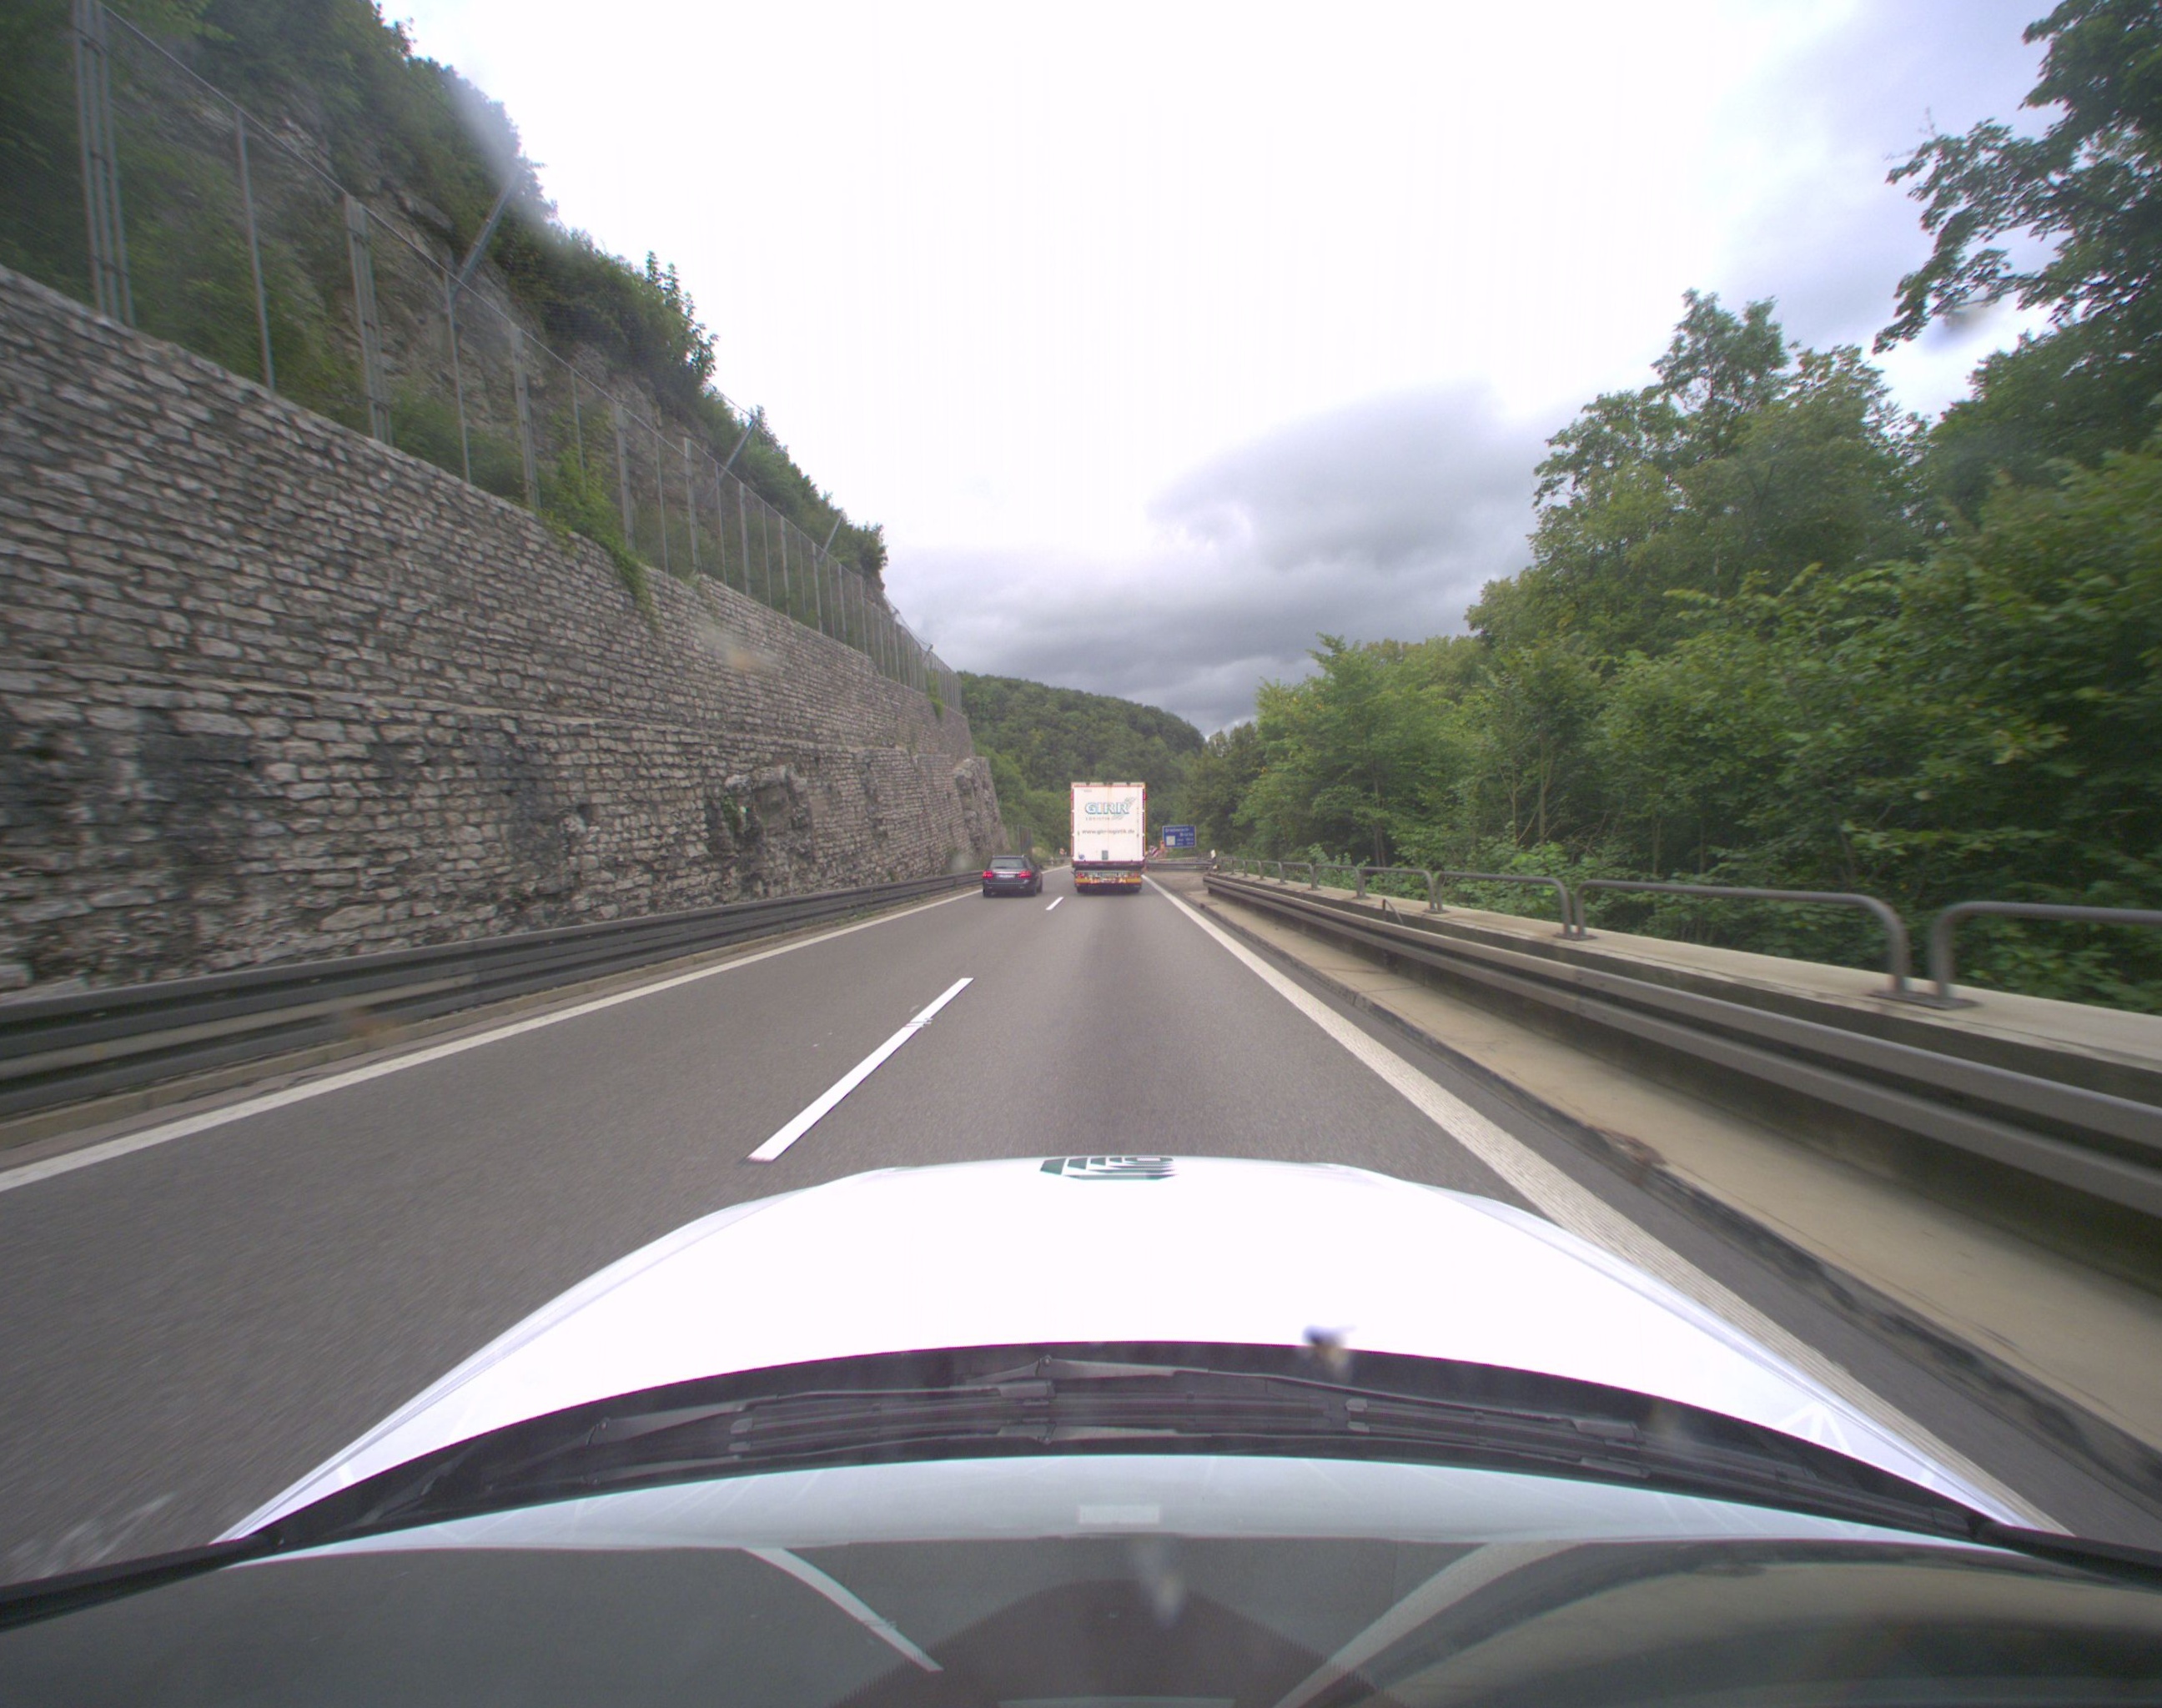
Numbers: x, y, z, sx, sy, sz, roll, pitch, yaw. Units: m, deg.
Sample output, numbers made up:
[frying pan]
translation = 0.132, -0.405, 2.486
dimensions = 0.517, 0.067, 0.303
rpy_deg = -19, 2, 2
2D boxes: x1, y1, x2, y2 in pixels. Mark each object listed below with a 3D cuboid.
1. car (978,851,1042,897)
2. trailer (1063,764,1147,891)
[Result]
[car]
translation = -2.502, 0.680, 29.653
dimensions = 1.877, 1.510, 4.419
rpy_deg = -1, -1, 1
[trailer]
translation = 1.017, -0.858, 34.033
dimensions = 2.803, 4.302, 12.249
rpy_deg = -1, -1, 2
